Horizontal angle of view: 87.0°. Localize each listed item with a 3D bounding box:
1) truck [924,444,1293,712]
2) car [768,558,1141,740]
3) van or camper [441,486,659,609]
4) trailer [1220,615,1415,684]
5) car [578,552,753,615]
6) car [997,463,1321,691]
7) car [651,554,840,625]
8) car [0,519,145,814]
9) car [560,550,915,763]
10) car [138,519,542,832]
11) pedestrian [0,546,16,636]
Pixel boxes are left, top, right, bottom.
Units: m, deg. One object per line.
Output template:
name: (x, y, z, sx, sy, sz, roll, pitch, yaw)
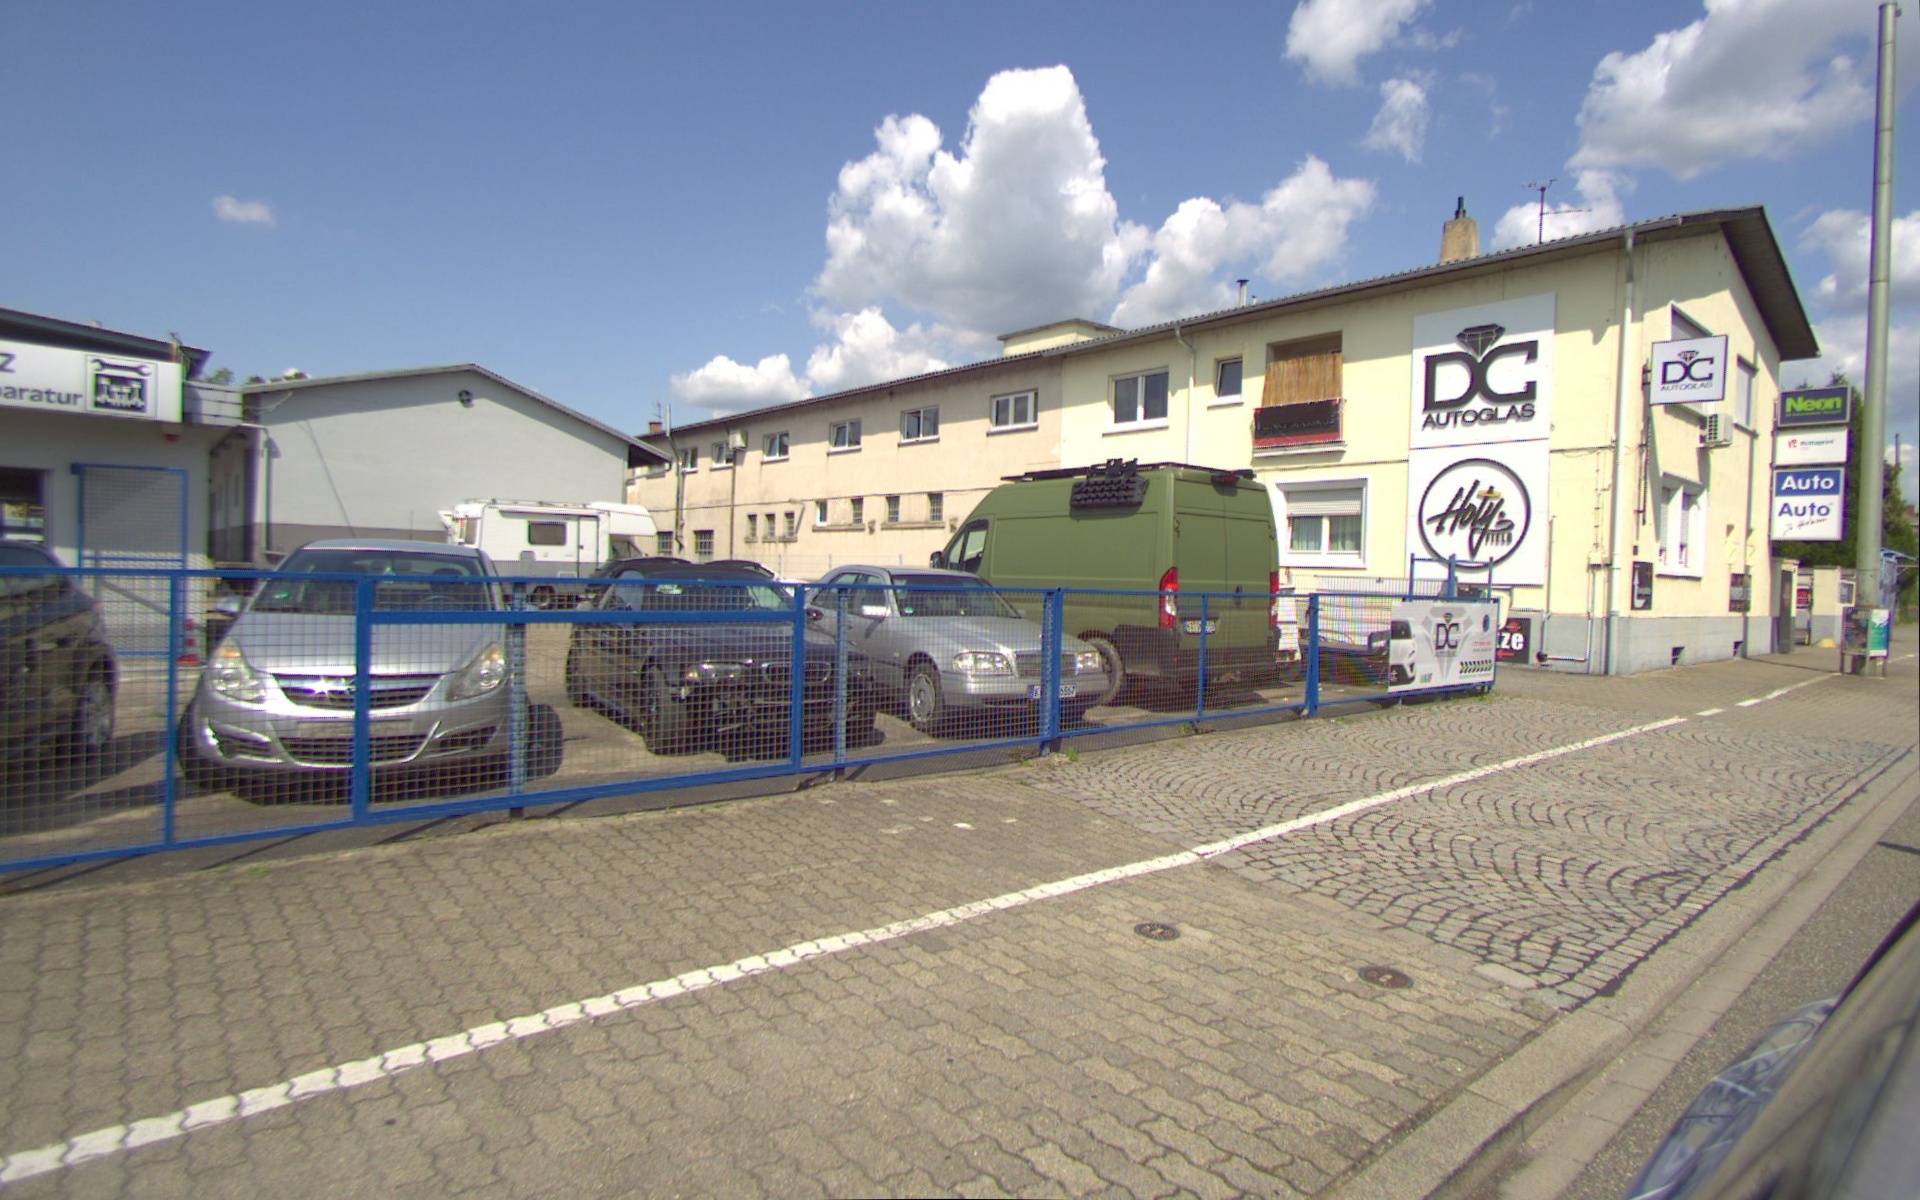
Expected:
truck: (1.623, -0.289, 12.148, 2.033, 2.639, 3.996, 1, 2, -40)
car: (-0.296, 0.315, 10.208, 1.768, 1.413, 4.216, 1, 2, -33)
van or camper: (-11.009, -1.327, 27.370, 4.971, 2.999, 2.284, 0, 2, -42)
trailer: (5.082, 0.665, 14.531, 1.245, 0.776, 2.330, 0, 2, -39)
car: (-7.480, -0.414, 25.892, 3.939, 1.497, 1.719, 0, 2, -41)
car: (2.612, -0.350, 14.145, 1.771, 2.702, 4.208, 1, 2, -40)
car: (-4.927, -0.250, 23.521, 3.939, 1.497, 1.719, 0, 2, -41)
car: (-5.747, 0.319, 5.036, 1.685, 1.497, 4.012, 1, 2, -25)
car: (-2.125, 0.305, 8.748, 1.768, 1.403, 3.837, 1, 2, -32)
car: (-3.951, 0.297, 7.104, 1.766, 1.497, 4.158, 1, 2, -24)
pedestrian: (-13.259, -0.132, 13.843, 0.479, 1.228, 0.501, 1, 1, -42)
